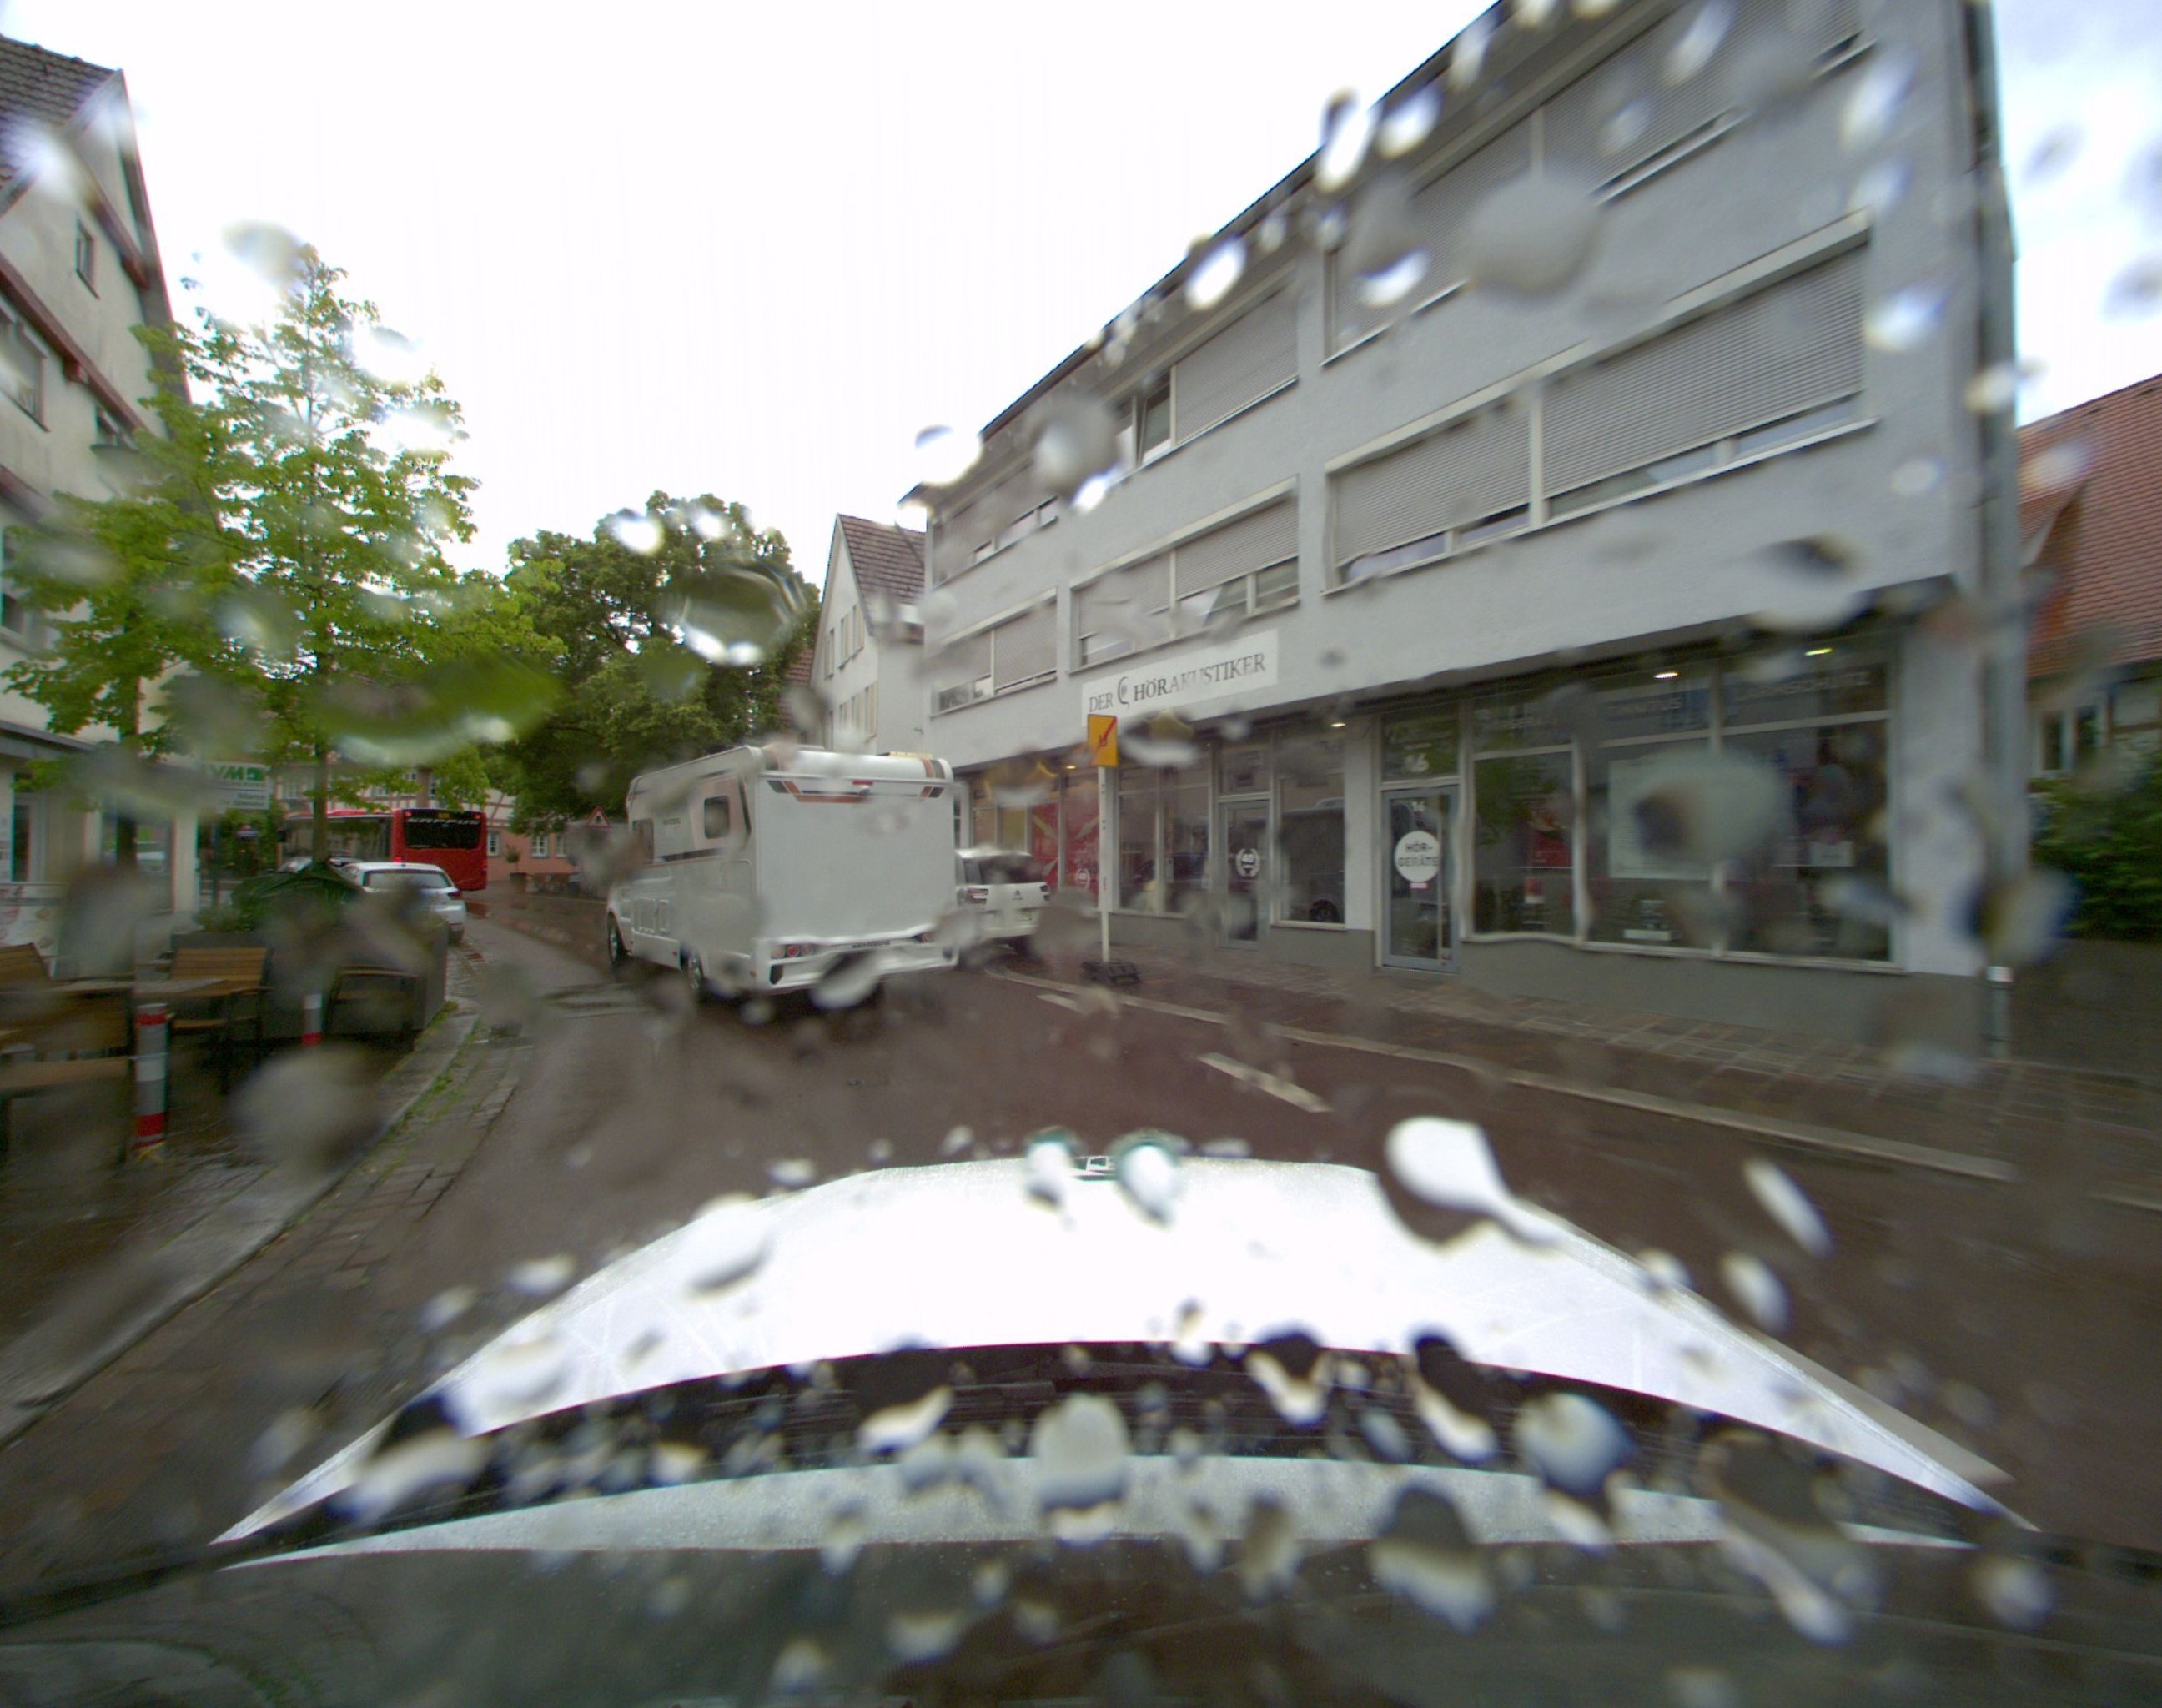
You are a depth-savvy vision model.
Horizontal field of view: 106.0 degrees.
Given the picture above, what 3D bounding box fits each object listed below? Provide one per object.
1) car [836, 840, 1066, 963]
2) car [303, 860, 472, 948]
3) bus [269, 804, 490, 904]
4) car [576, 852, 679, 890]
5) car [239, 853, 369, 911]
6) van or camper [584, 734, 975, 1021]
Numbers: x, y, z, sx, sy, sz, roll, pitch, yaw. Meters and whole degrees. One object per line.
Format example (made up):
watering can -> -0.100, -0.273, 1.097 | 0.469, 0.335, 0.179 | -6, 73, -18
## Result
car -> -2.257, 0.645, 13.072 | 1.790, 1.631, 4.419 | 1, -1, -37
car -> -13.164, 0.874, 15.380 | 3.930, 1.415, 1.737 | 0, -2, 40
bus -> -25.226, -0.012, 29.039 | 10.471, 3.088, 2.840 | 0, 1, 32
car -> -18.290, 0.682, 32.942 | 3.546, 1.478, 1.567 | 1, -2, -29
car -> -21.071, 0.718, 22.065 | 3.929, 1.414, 1.738 | 1, -1, 34
van or camper -> -4.327, 0.232, 10.648 | 2.459, 2.585, 6.669 | 1, -1, -42
